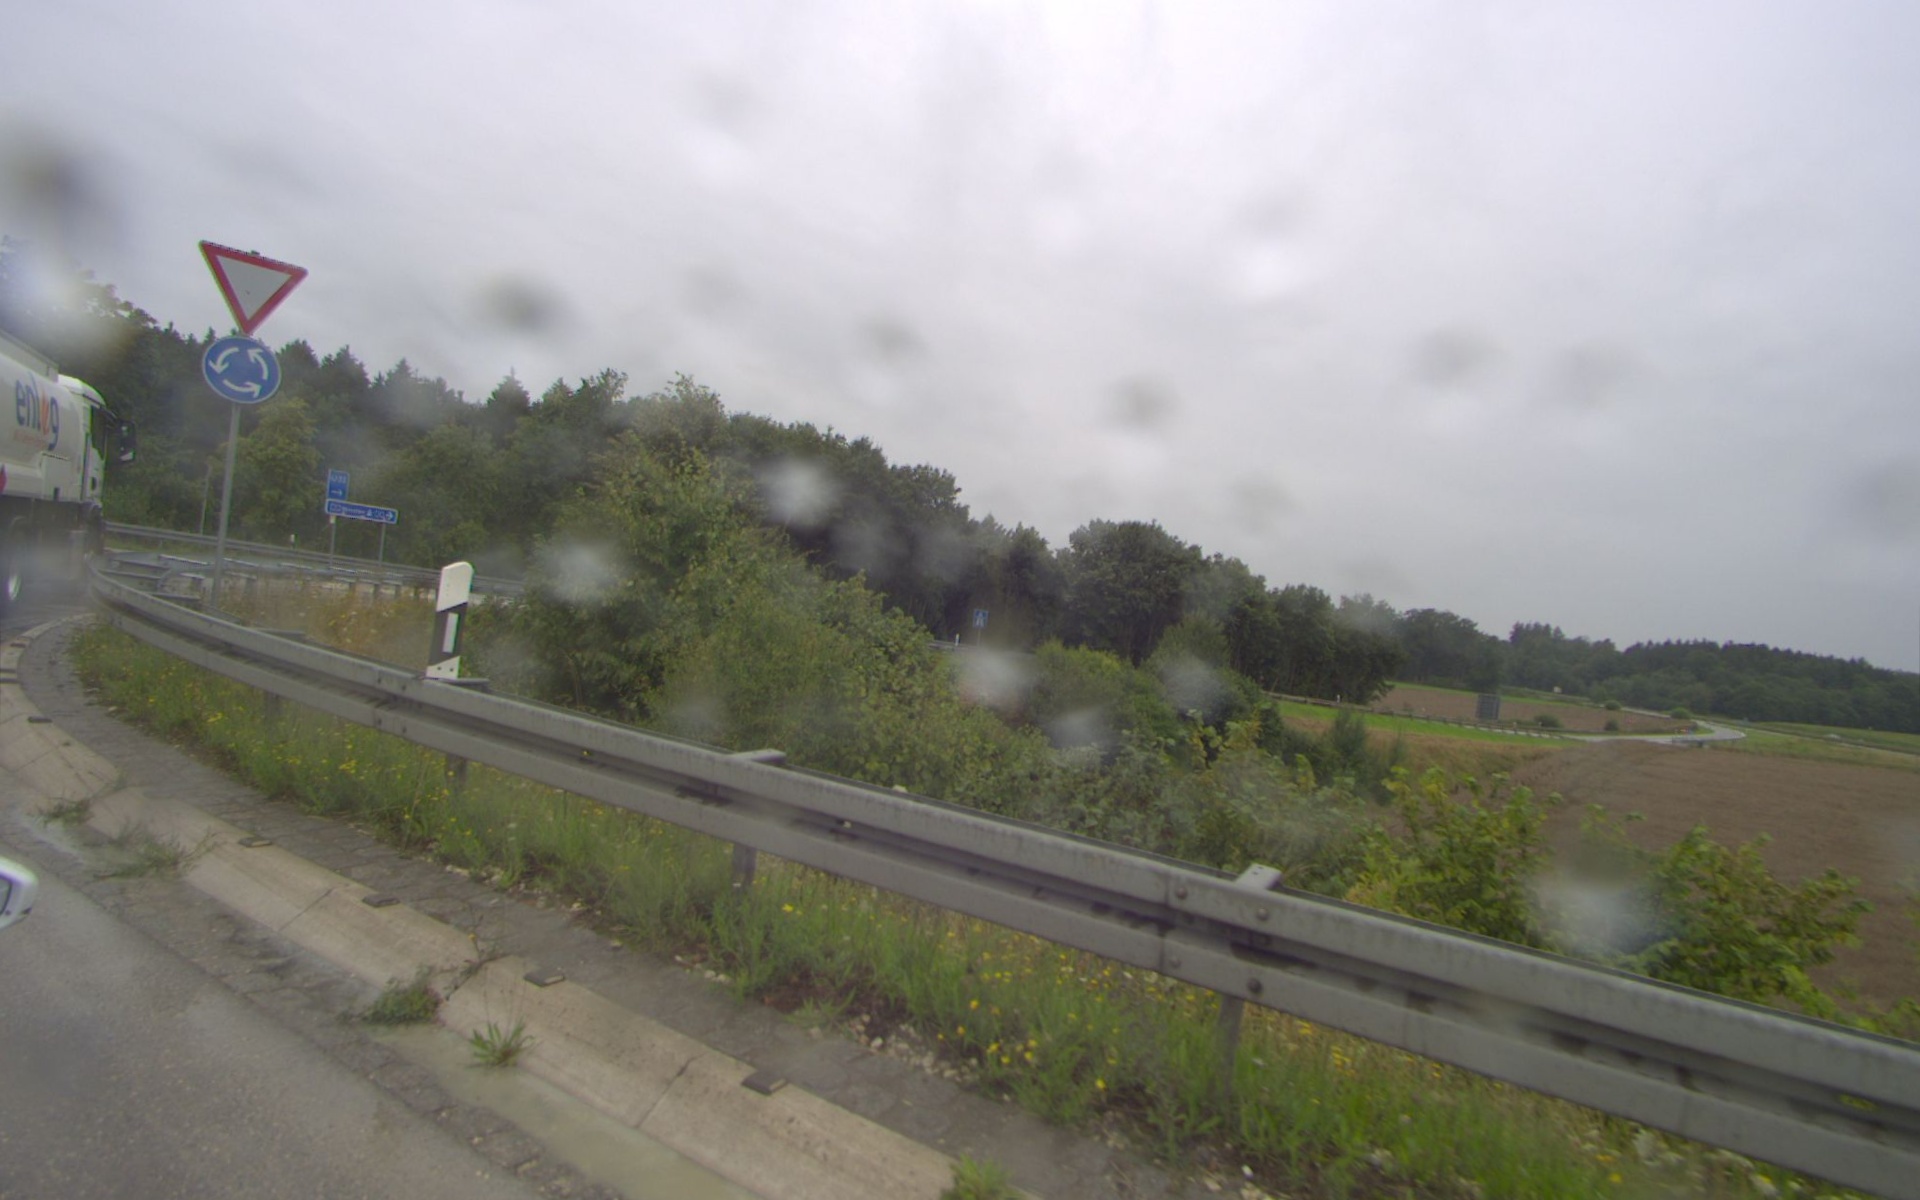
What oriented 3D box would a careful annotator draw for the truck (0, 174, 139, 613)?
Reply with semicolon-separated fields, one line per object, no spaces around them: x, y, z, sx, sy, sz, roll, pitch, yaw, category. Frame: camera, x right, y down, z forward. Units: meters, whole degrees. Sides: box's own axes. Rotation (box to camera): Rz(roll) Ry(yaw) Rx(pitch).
-12.057;-2.103;11.374;3.021;3.896;8.745;8;-2;-33;truck
